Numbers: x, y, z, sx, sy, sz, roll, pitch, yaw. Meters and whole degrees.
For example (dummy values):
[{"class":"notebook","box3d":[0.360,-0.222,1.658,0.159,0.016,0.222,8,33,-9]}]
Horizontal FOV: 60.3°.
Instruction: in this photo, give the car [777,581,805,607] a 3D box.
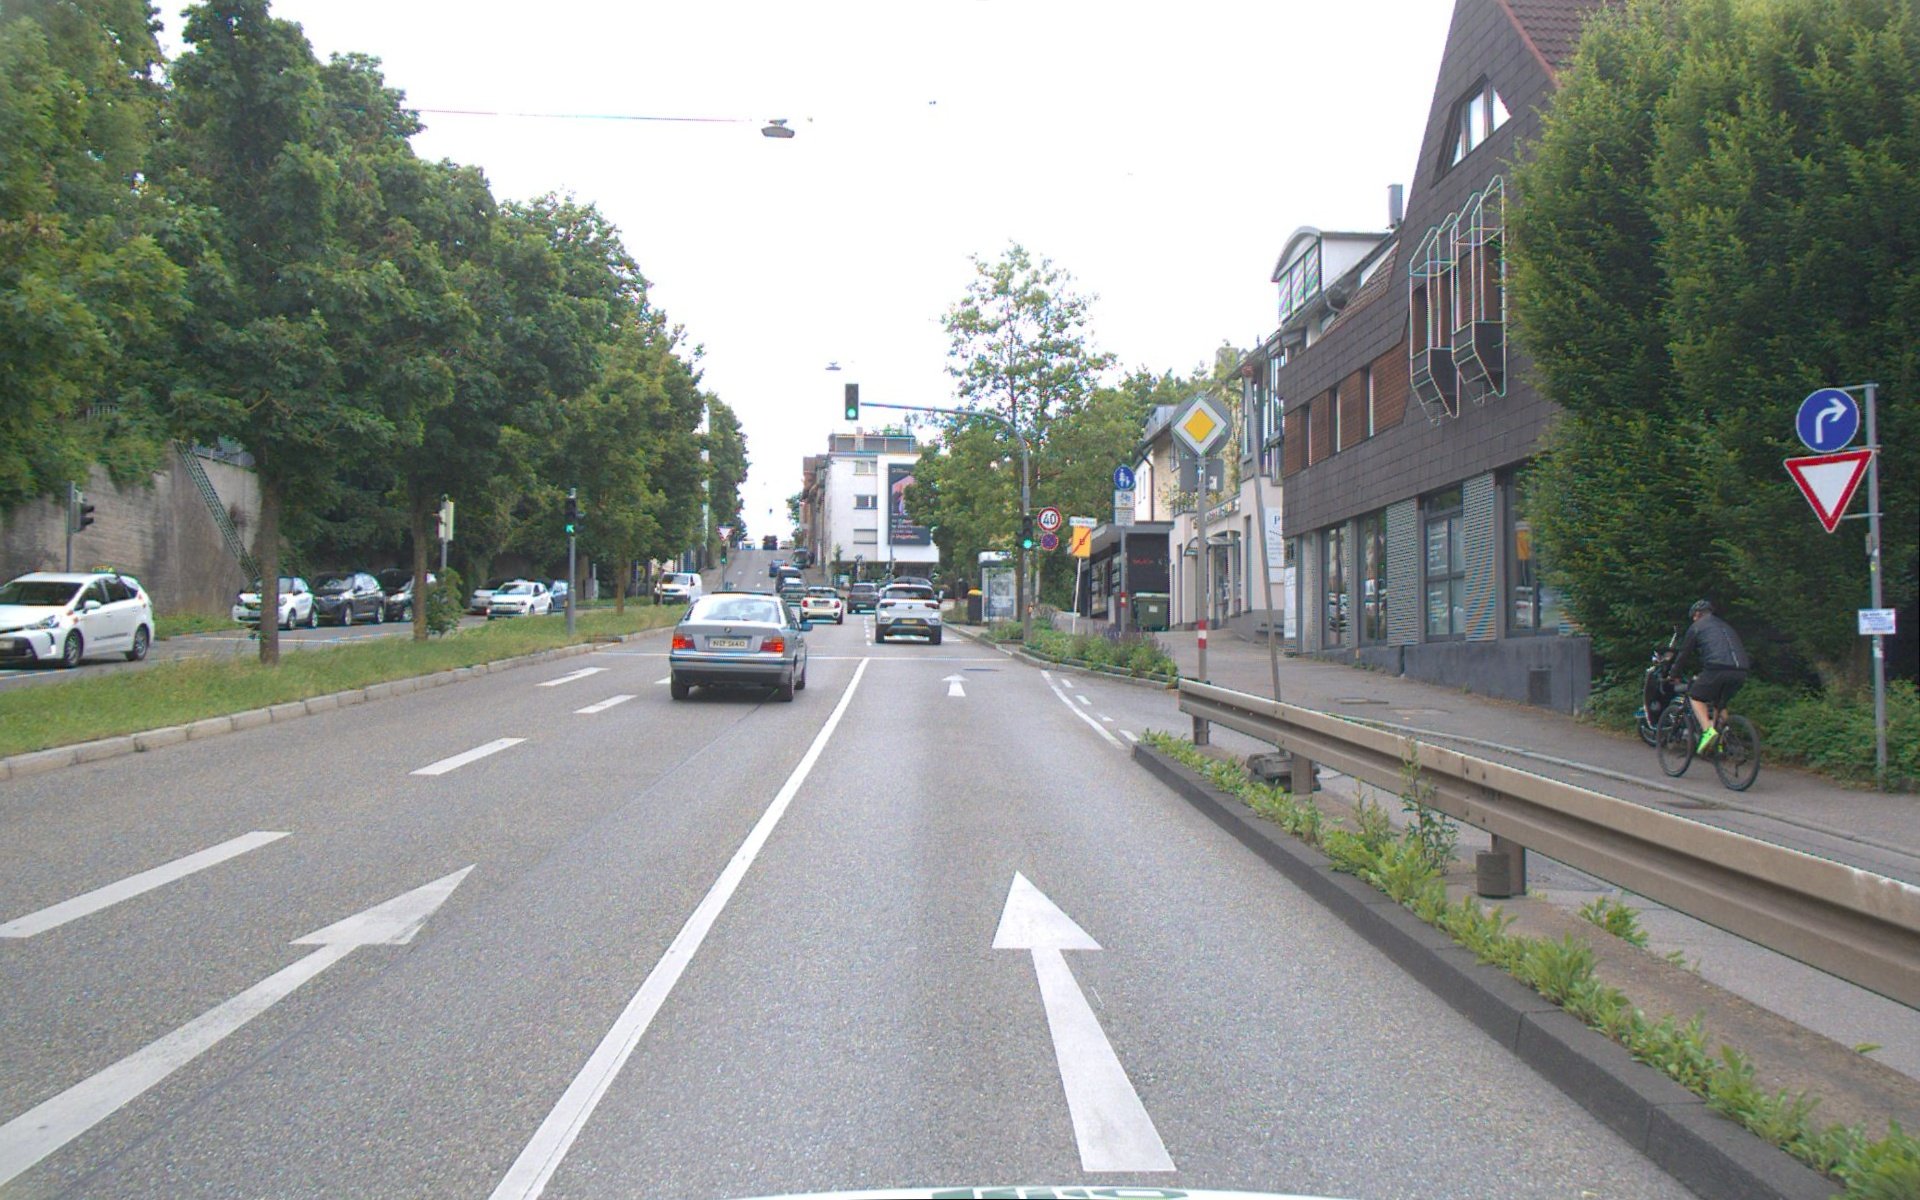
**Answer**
[{"class":"car","box3d":[-11.017,-0.393,107.705,1.746,1.606,3.995,2,1,-7]}]

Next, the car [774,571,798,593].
[{"class":"car","box3d":[-13.506,-1.406,128.220,1.746,1.606,3.995,2,1,-7]}]

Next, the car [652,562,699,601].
[{"class":"car","box3d":[-15.236,-1.019,88.819,1.900,1.992,5.019,1,1,-3]}]

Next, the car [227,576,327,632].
[{"class":"car","box3d":[-19.952,0.101,48.431,1.745,1.524,3.095,2,1,-4]}]

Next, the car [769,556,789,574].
[{"class":"car","box3d":[-16.466,-3.192,150.469,1.746,1.606,3.995,1,1,-7]}]

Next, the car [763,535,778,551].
[{"class":"car","box3d":[-24.942,-7.493,217.750,1.955,2.048,3.994,2,1,-7]}]

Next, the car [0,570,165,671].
[{"class":"car","box3d":[-15.776,0.296,28.969,1.745,1.587,4.456,2,1,-4]}]

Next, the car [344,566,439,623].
[{"class":"car","box3d":[-19.842,-0.213,57.933,1.743,1.875,4.488,2,1,0]}]

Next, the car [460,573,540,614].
[{"class":"car","box3d":[-19.643,-0.280,70.847,1.742,1.657,4.174,2,1,8]}]

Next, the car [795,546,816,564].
[{"class":"car","box3d":[-15.516,-4.509,166.371,2.049,1.641,3.995,1,0,-6]}]

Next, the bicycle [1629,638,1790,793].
[{"class":"bicycle","box3d":[7.402,1.099,16.452,0.560,1.284,2.038,0,3,-3]}]

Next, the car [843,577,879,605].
[{"class":"car","box3d":[-5.400,-0.495,90.843,1.744,1.461,4.000,2,1,-1]}]

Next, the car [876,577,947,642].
[{"class":"car","box3d":[-1.347,0.219,44.946,1.745,1.606,3.997,2,1,-4]}]

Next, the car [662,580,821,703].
[{"class":"car","box3d":[-2.911,0.497,22.745,1.672,1.489,4.000,2,1,-1]}]

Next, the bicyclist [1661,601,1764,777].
[{"class":"bicyclist","box3d":[7.413,0.858,16.321,0.527,1.661,0.947,1,1,-3]}]

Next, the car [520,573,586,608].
[{"class":"car","box3d":[-19.005,-0.468,77.406,1.676,1.555,4.304,2,1,5]}]

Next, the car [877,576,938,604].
[{"class":"car","box3d":[-4.199,-0.810,132.104,4.600,1.741,2.316,5,3,-7]}]

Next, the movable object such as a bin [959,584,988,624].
[{"class":"movable object such as a bin","box3d":[0.523,0.141,64.578,1.063,1.507,1.536,1,0,-2]}]

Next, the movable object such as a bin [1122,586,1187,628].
[{"class":"movable object such as a bin","box3d":[7.163,0.228,61.209,1.850,1.477,3.999,1,1,-1]}]

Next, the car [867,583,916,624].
[{"class":"car","box3d":[-2.655,0.113,63.096,1.745,1.434,3.997,2,1,-4]}]

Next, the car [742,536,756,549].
[{"class":"car","box3d":[-27.879,-7.559,218.956,1.847,1.594,4.384,0,3,-7]}]

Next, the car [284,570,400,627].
[{"class":"car","box3d":[-19.835,-0.056,53.277,1.929,1.685,4.533,2,0,1]}]

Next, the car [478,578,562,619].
[{"class":"car","box3d":[-16.737,-0.070,63.084,1.692,1.453,3.794,2,1,9]}]

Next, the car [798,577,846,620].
[{"class":"car","box3d":[-5.547,-0.069,66.276,1.746,1.606,3.995,1,1,-7]}]

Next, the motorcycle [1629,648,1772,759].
[{"class":"motorcycle","box3d":[8.175,1.118,18.350,0.681,1.069,1.967,0,1,-1]}]
